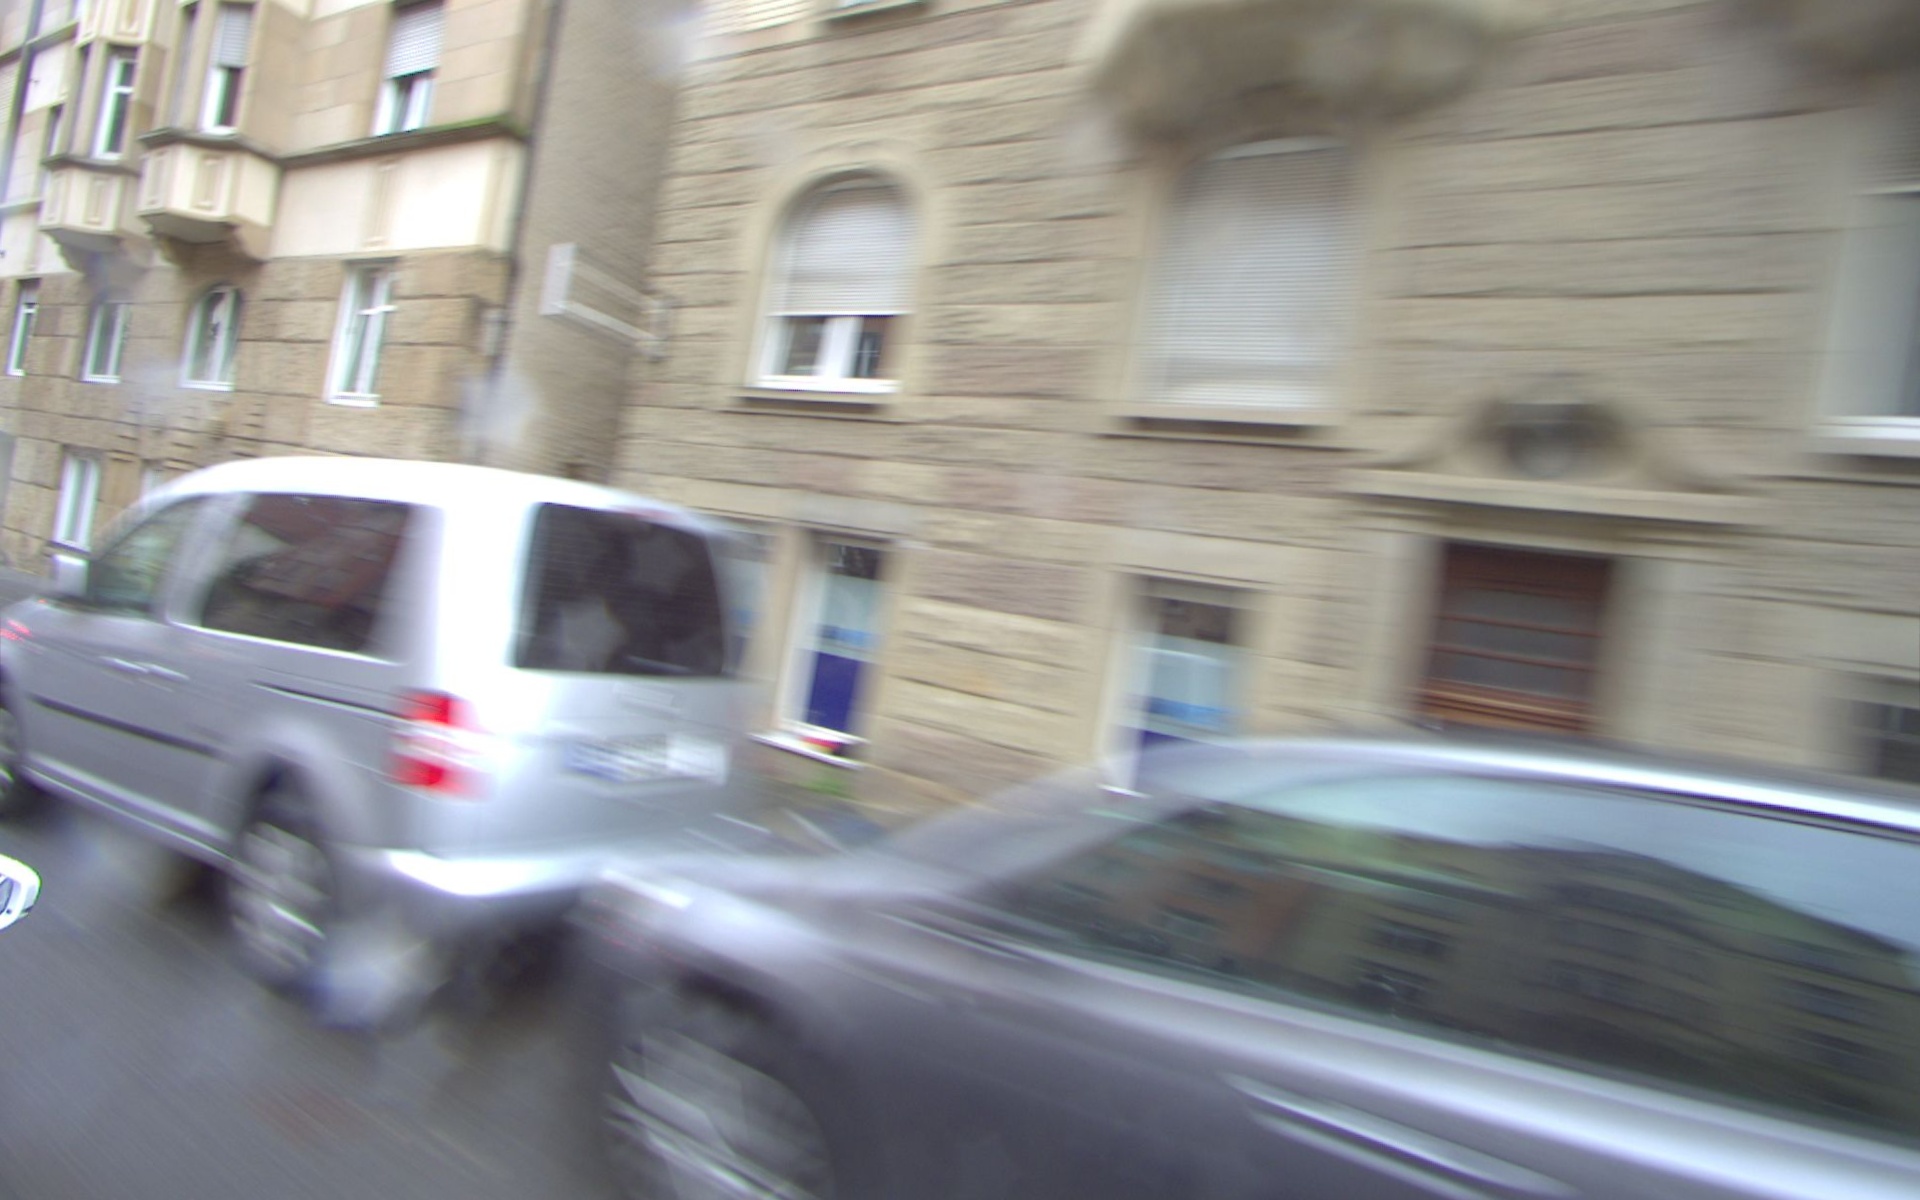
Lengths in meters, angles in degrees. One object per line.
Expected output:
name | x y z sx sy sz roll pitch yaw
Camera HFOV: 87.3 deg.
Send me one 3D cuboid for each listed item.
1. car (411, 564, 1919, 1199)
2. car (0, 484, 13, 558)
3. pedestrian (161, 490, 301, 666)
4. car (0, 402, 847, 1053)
car | 0.799 0.930 2.550 3.933 1.458 1.998 7 -2 31
car | -11.235 -0.664 10.090 3.403 1.494 1.563 7 -3 32
pedestrian | -7.893 -0.218 10.909 0.599 1.753 0.864 7 -1 32
car | -2.882 0.227 4.691 4.286 1.797 1.778 8 -1 30
